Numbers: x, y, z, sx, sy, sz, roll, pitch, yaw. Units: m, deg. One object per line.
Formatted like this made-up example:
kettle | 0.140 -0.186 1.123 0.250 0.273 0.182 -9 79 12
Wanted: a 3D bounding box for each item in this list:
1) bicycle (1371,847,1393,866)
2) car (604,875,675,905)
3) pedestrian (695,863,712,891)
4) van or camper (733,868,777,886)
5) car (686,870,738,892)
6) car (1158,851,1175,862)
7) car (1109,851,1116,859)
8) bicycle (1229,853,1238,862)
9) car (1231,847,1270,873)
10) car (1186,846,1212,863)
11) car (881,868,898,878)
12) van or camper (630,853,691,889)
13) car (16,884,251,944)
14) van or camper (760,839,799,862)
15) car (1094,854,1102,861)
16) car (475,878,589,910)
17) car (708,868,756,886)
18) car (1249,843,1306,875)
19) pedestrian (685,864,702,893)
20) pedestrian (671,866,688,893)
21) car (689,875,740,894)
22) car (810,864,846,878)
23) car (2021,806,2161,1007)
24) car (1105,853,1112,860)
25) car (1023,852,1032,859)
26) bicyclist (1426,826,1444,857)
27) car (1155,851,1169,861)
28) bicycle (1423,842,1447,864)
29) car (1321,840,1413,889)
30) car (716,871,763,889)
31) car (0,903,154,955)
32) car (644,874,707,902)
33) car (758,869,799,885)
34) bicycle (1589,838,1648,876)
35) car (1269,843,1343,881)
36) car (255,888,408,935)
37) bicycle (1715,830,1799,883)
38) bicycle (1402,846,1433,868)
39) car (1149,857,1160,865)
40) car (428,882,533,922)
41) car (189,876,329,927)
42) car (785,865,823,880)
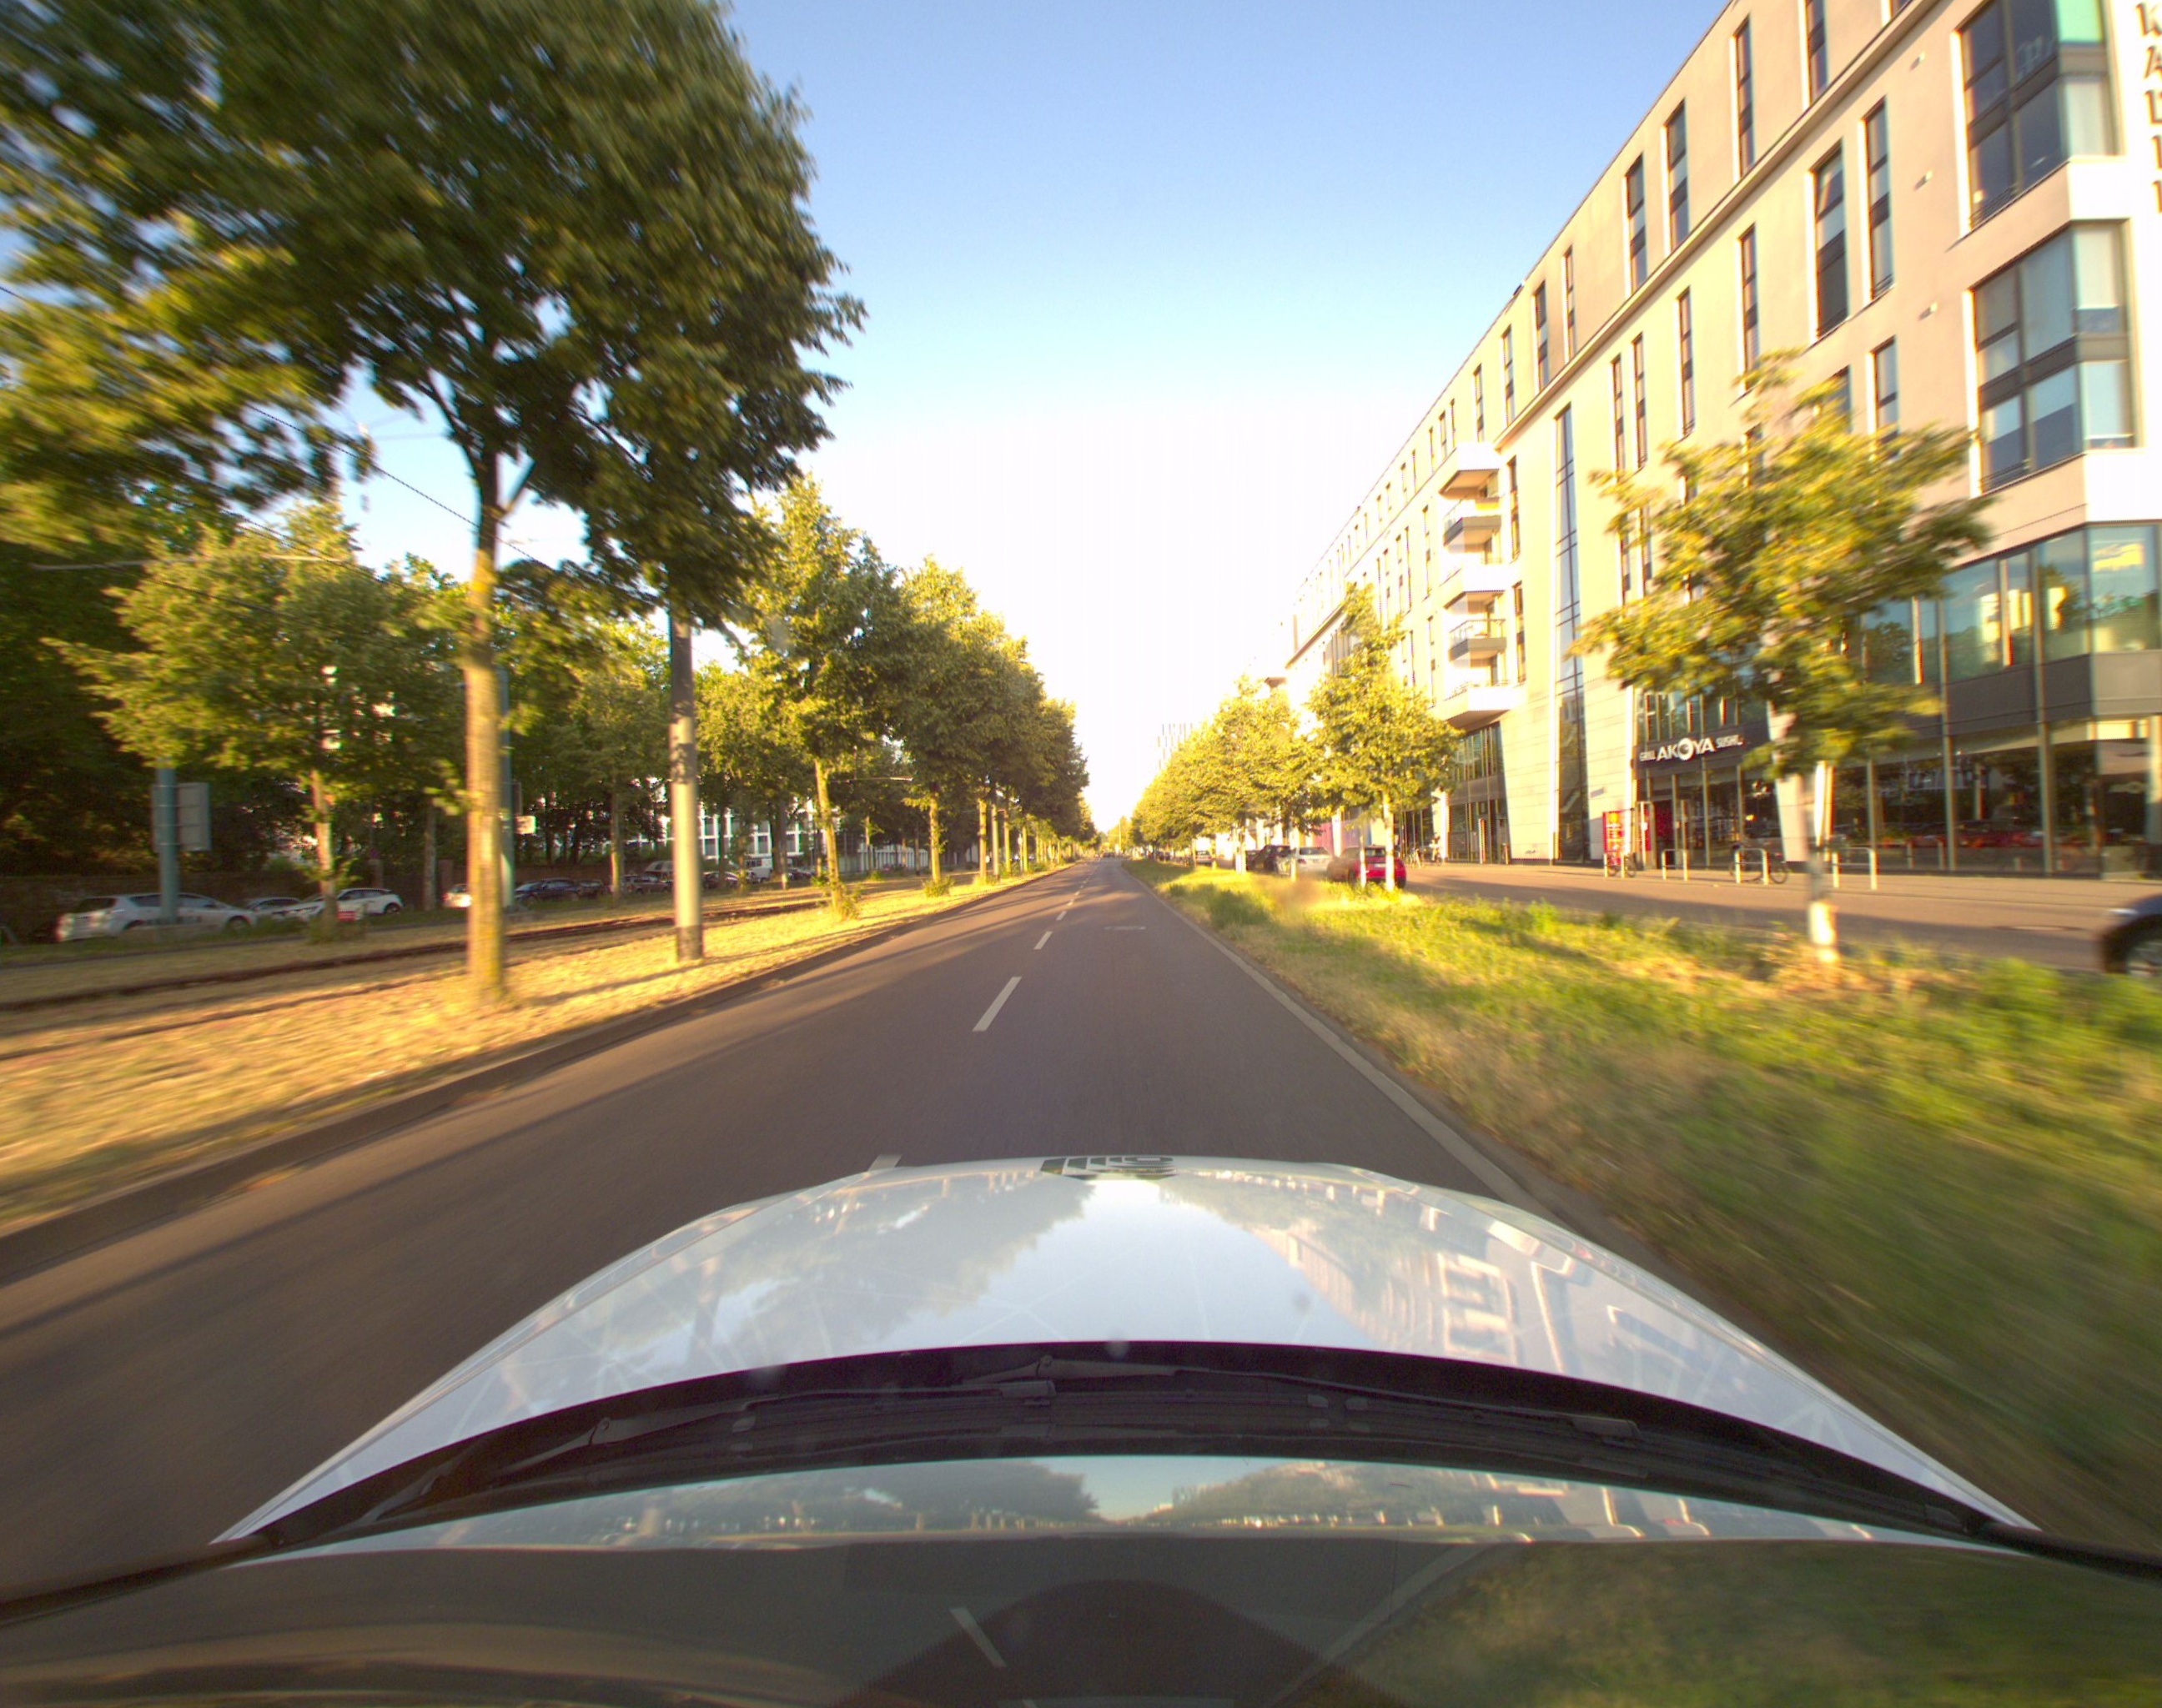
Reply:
bicycle | 17.468 0.141 47.300 0.532 1.059 1.610 -2 0 -4
car | -28.931 2.320 53.476 1.983 1.750 4.168 -2 0 7
pedestrian | -24.699 1.495 53.277 0.691 1.743 0.866 -2 -1 -1
van or camper | -35.273 2.498 88.281 3.986 1.791 1.994 -2 0 -9
car | -29.182 2.122 64.485 1.984 1.486 4.005 -2 0 5
car | 12.682 0.330 120.869 1.937 1.549 4.810 -2 0 0
car | 8.523 0.280 220.511 1.987 2.013 4.001 -2 0 1
bicycle | 18.333 0.395 98.055 0.533 1.061 1.776 -4 0 -8
car | 10.490 0.333 50.661 1.717 1.501 4.234 -1 0 2
car | 11.121 0.058 76.996 1.802 1.501 4.826 -2 0 1
car | -31.426 3.127 133.732 1.852 1.581 3.494 -2 0 2
van or camper | -34.860 1.370 67.666 2.078 2.735 5.494 -2 0 0
car | -29.722 1.825 25.825 1.986 1.499 4.560 -2 0 2
van or camper | -42.482 -0.478 114.977 2.697 3.085 6.272 -2 0 5
car | 4.937 0.922 234.613 2.080 2.013 4.001 -2 0 1
car | -28.155 2.025 42.013 1.984 1.315 5.150 -2 0 5
car | -35.244 2.306 82.294 3.976 1.640 1.921 -2 0 -2
car | 10.353 0.262 43.279 1.946 1.623 4.822 0 0 1
pedestrian | -25.564 1.580 53.669 0.692 1.870 0.864 -2 -1 -6
pedestrian | -26.253 1.653 53.283 0.692 1.759 0.864 -2 -1 -6
car | -35.819 2.962 79.614 3.970 1.640 1.924 -2 0 3
car | -32.456 2.155 104.392 3.976 1.640 1.921 -2 0 -2
car | 8.831 0.365 4.769 1.800 1.501 4.374 -2 0 5
car | 8.055 0.786 239.514 1.986 2.013 4.002 -2 0 2
car | -14.008 0.393 214.549 1.878 1.578 4.183 -2 0 1
bicyclist | 18.679 -0.662 42.998 0.542 1.568 1.021 -2 0 5
car | 12.701 0.367 128.112 1.848 1.529 4.484 -1 0 1
bicycle | 18.713 -0.047 43.035 0.540 1.118 1.915 -2 0 5
car | 9.765 0.328 28.134 1.802 1.501 3.960 -2 0 1
car | -35.727 2.691 85.297 3.976 1.640 1.921 -2 0 -2
car | -38.548 2.809 31.086 1.757 1.596 3.843 -2 0 5
car | -29.154 2.417 58.729 1.986 1.750 4.791 -2 0 1
car | -35.033 2.697 94.257 3.964 1.640 1.927 -2 0 8
bicycle | 16.804 0.098 25.523 0.544 1.128 1.868 -4 0 0
car | 9.788 0.335 35.817 1.914 1.501 5.010 -2 0 1
car | -29.303 2.200 32.062 1.892 1.499 4.309 -2 0 2
bicycle | 16.579 0.061 20.016 0.615 1.231 1.670 -2 0 0
bicycle | 17.120 0.157 41.467 0.618 1.033 2.261 -2 0 1
car | 13.307 1.253 146.877 1.718 1.529 4.269 -1 0 1
car | -30.779 2.430 41.923 1.983 1.750 4.168 -2 0 7
car | -37.377 2.110 37.189 1.982 2.013 4.010 -2 0 8
car | -34.606 2.275 101.764 3.976 1.640 1.921 -2 0 -2
